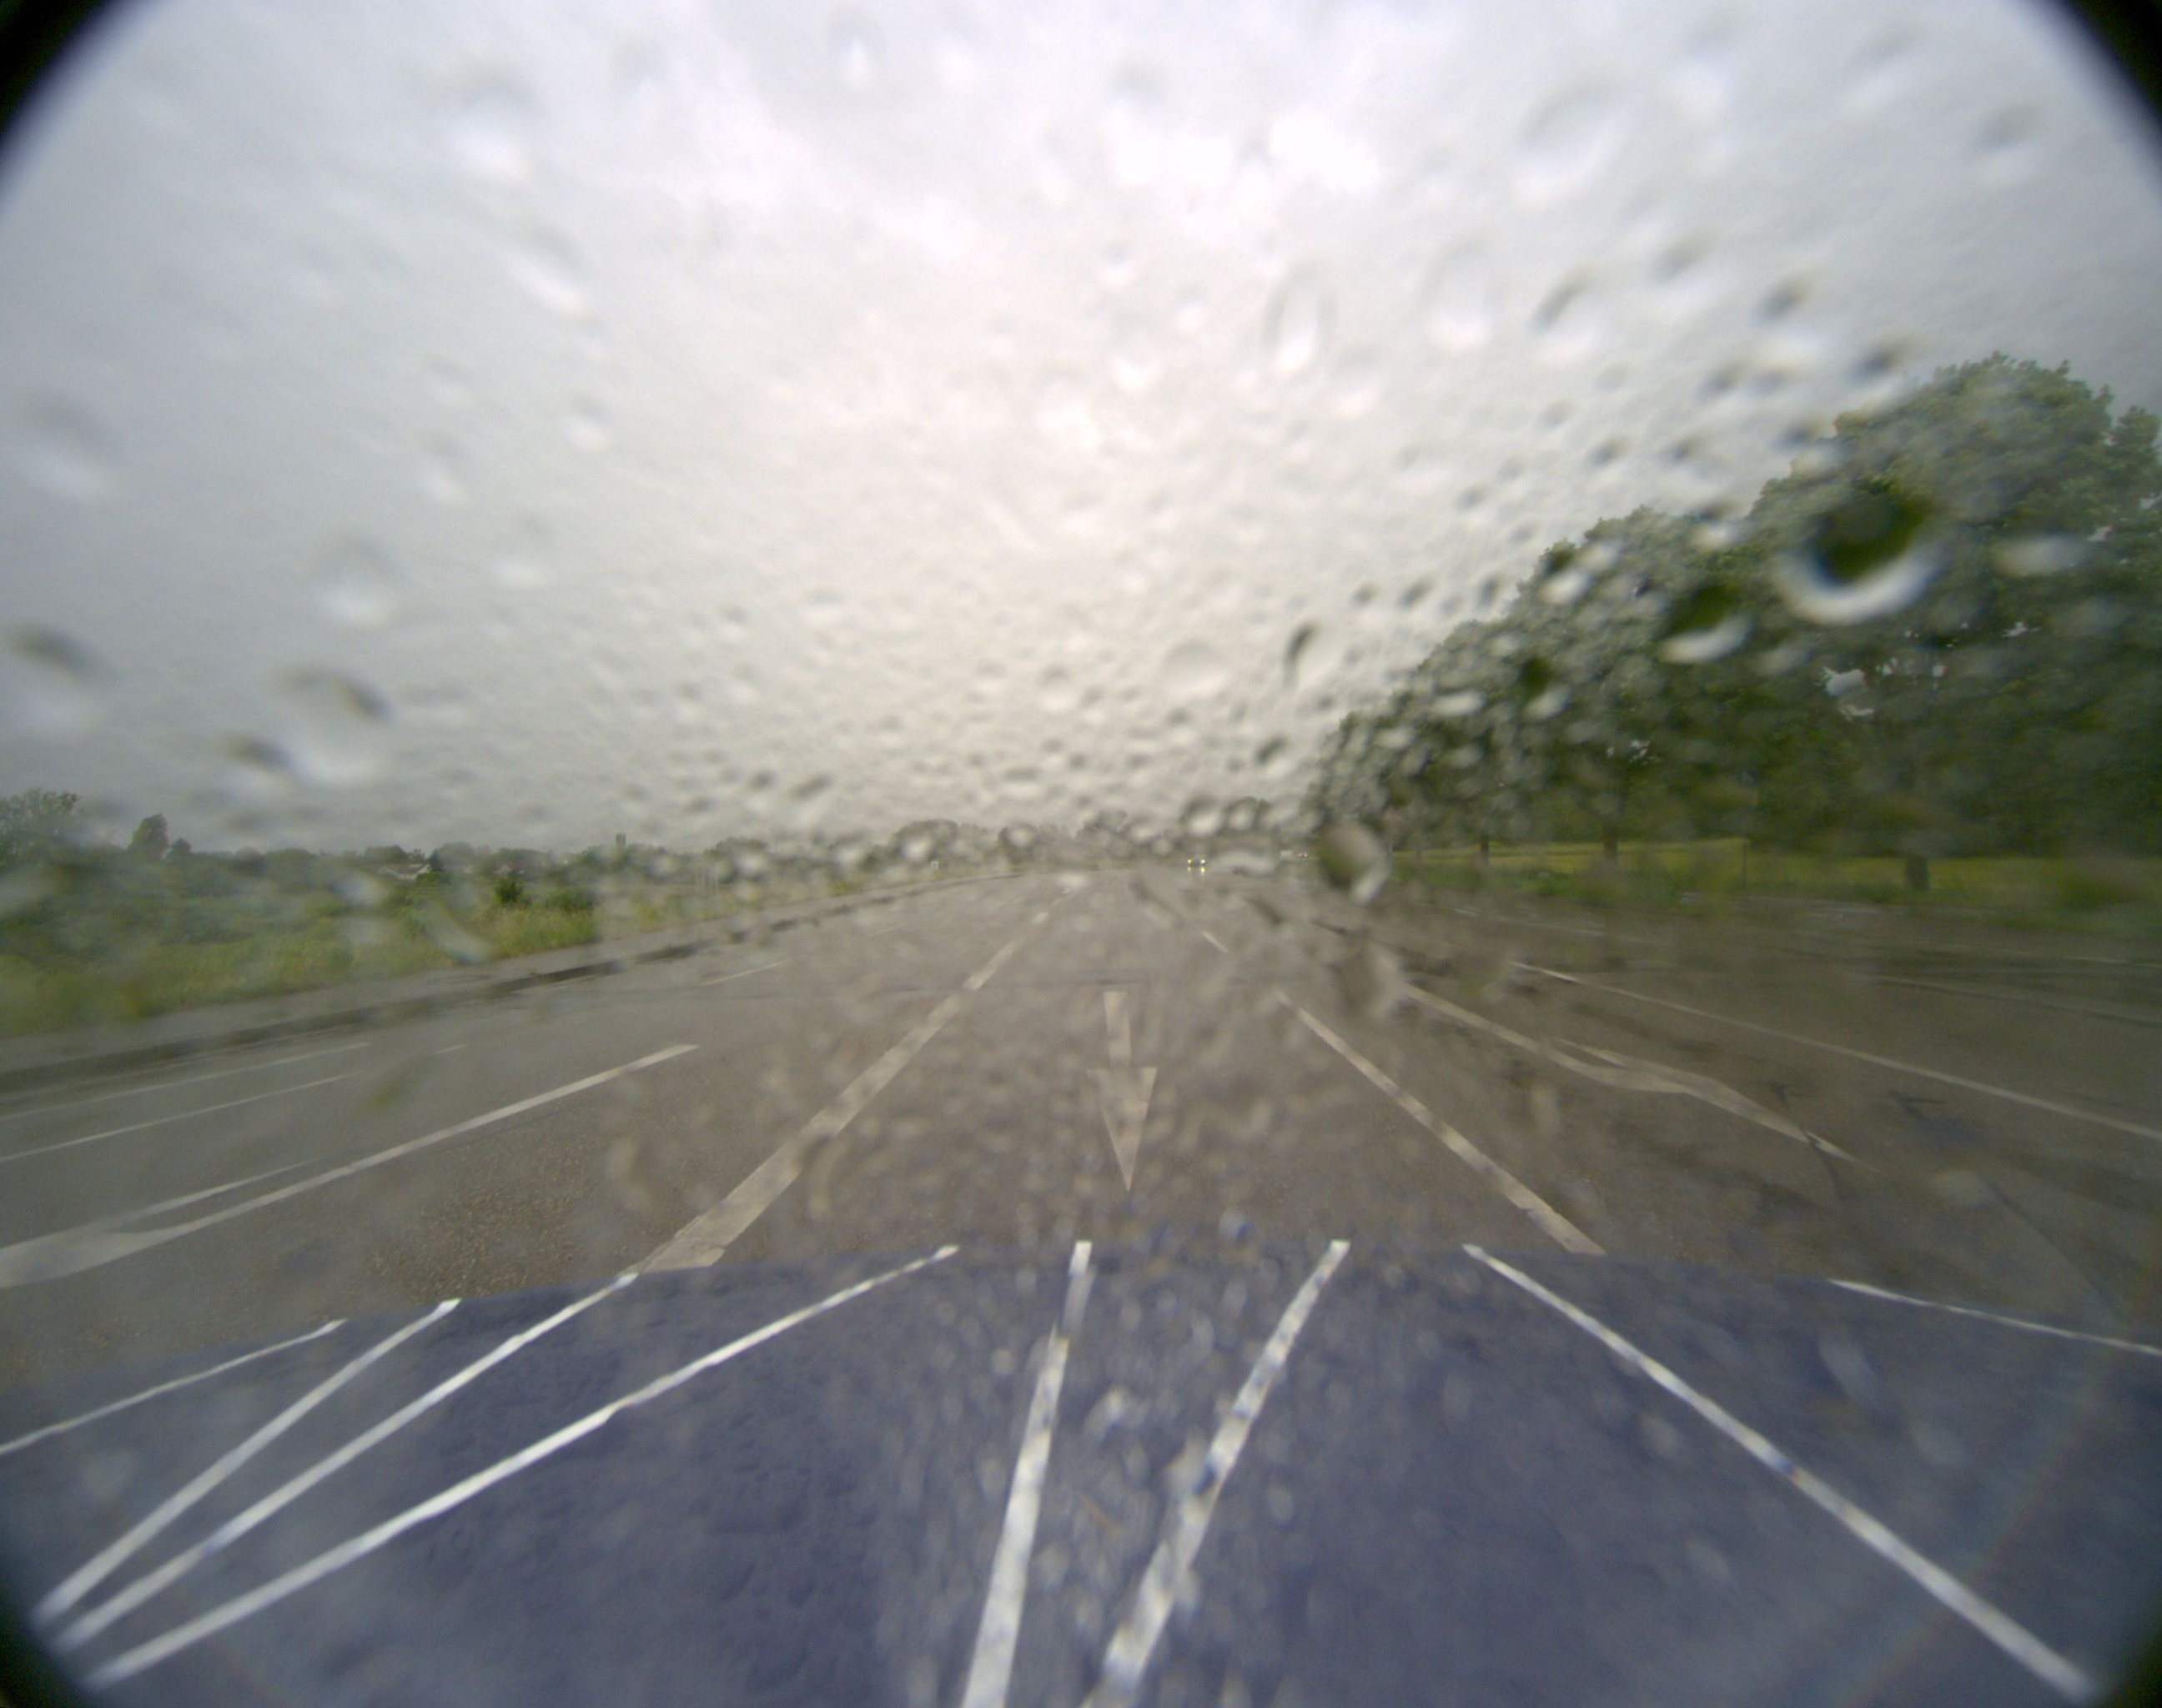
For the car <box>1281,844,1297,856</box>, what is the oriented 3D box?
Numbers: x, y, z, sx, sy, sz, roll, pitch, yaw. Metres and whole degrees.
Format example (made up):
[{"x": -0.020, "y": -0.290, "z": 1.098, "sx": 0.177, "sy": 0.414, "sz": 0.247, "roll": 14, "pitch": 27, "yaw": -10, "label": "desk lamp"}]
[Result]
[{"x": 36.022, "y": -0.690, "z": 131.679, "sx": 2.108, "sy": 1.881, "sz": 4.797, "roll": -1, "pitch": 1, "yaw": 21, "label": "car"}]

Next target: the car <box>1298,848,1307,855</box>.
[{"x": 57.185, "y": -0.754, "z": 196.073, "sx": 1.913, "sy": 1.678, "sz": 4.109, "roll": -1, "pitch": 1, "yaw": 21, "label": "car"}]

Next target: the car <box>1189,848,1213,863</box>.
[{"x": 14.154, "y": 0.178, "z": 89.506, "sx": 1.913, "sy": 1.576, "sz": 4.109, "roll": -1, "pitch": 1, "yaw": 22, "label": "car"}]
